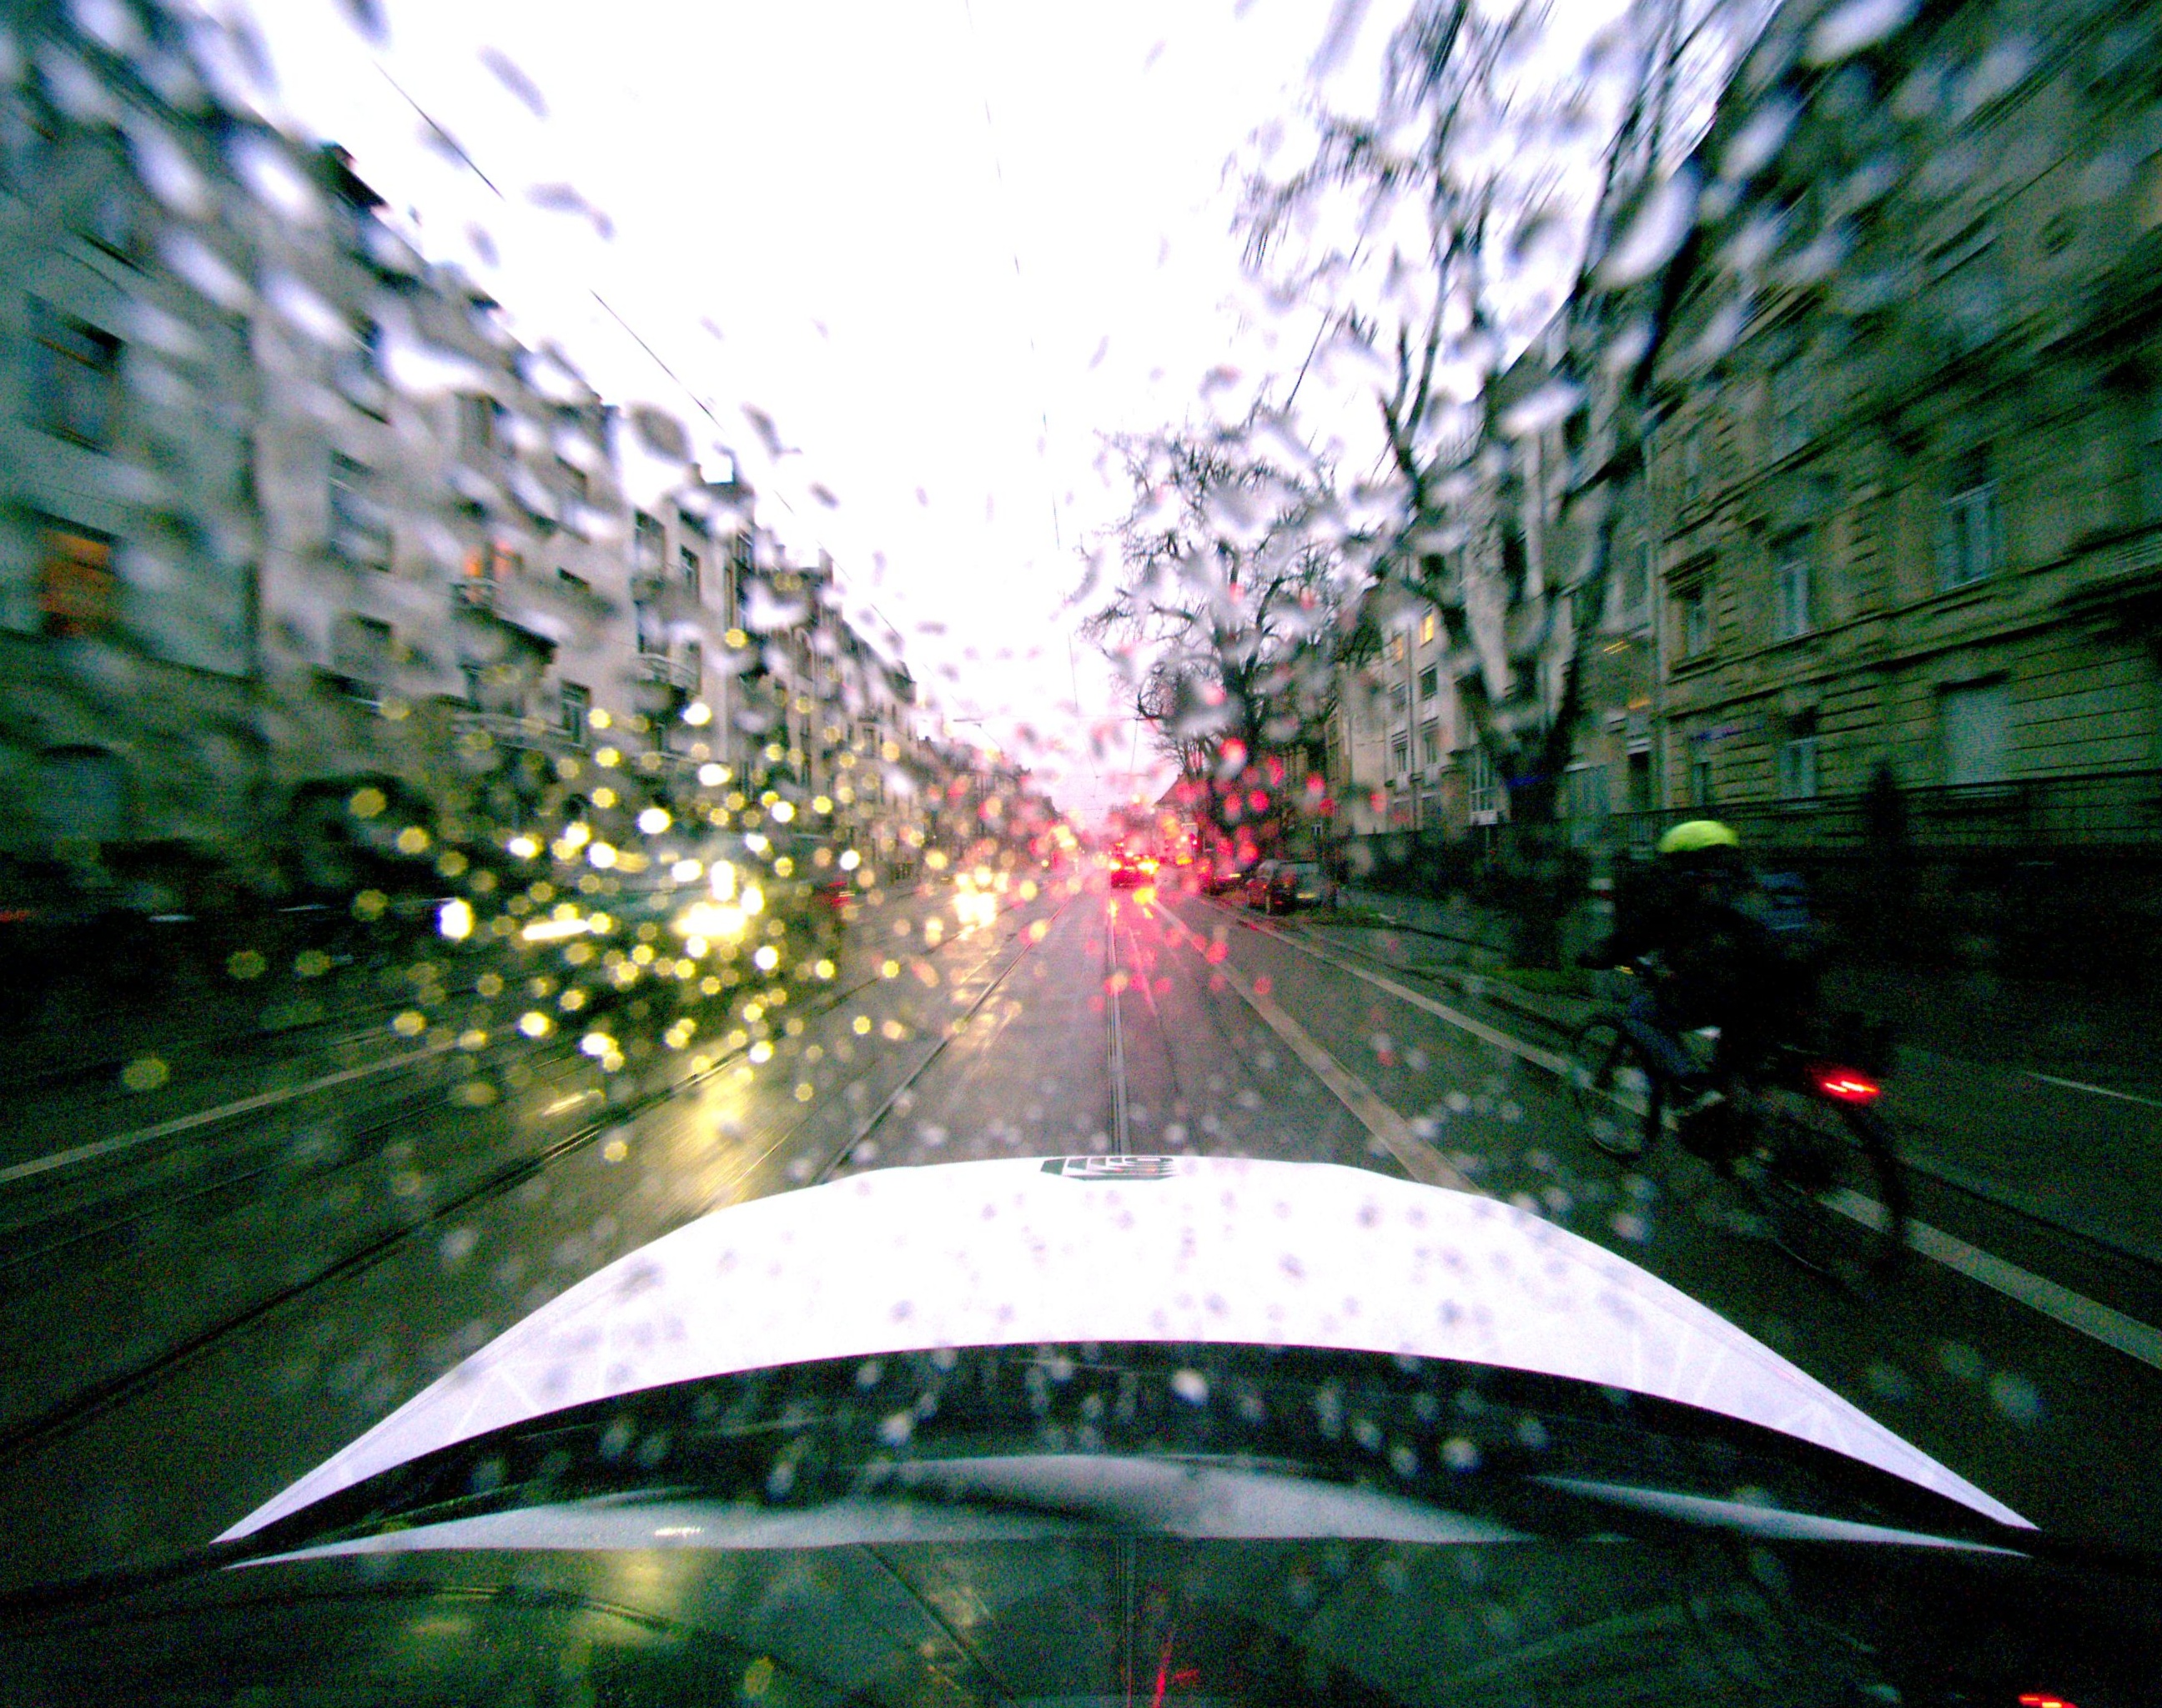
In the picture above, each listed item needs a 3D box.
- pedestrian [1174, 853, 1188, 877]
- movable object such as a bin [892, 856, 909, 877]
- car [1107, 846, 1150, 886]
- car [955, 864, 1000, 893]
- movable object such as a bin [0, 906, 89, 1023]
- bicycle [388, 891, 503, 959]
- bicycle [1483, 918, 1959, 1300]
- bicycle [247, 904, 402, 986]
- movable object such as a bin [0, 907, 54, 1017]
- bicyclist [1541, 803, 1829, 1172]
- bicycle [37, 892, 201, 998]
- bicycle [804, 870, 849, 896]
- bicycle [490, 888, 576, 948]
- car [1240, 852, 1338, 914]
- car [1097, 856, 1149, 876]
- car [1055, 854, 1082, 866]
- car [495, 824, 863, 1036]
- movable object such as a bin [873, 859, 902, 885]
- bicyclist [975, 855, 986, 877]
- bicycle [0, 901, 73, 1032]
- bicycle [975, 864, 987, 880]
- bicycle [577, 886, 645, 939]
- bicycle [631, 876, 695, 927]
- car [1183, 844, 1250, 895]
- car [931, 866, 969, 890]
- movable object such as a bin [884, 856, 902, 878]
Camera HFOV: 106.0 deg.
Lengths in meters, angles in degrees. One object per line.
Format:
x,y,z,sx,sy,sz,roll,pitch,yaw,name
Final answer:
8.825,0.949,71.626,1.019,2.013,0.919,-2,0,-2,pedestrian
-14.408,0.994,65.177,1.009,1.600,1.082,-2,0,4,movable object such as a bin
2.356,0.621,41.607,1.986,1.897,4.759,-1,-1,1,car
-5.004,1.161,39.813,1.655,1.198,3.874,-2,1,0,car
-11.288,1.156,8.593,0.694,1.137,0.739,-2,0,-13,movable object such as a bin
-10.420,1.153,13.437,0.690,1.031,1.594,-3,-4,-3,bicycle
2.660,0.948,3.768,0.704,1.096,2.032,-2,1,5,bicycle
-10.567,1.235,11.458,0.690,1.031,1.593,-3,-4,-1,bicycle
-11.914,1.178,8.783,0.694,1.137,0.739,-2,0,-13,movable object such as a bin
2.631,0.530,3.654,0.653,1.446,0.850,-2,0,4,bicyclist
-12.398,1.164,10.516,1.582,1.264,0.490,-3,-5,5,bicycle
-11.337,1.285,36.289,1.802,1.080,0.615,-2,0,-6,bicycle
-10.391,1.182,15.511,0.691,1.031,1.592,-2,-1,-7,bicycle
5.579,0.715,22.305,1.671,1.460,4.043,-2,0,1,car
4.039,1.126,78.521,4.923,1.717,1.699,-2,0,4,car
-1.935,0.880,128.300,3.983,1.717,1.899,-2,0,-7,car
-4.472,0.689,10.244,2.040,1.922,5.099,-2,1,0,car
-12.277,1.145,51.642,1.404,1.530,1.365,-2,0,1,movable object such as a bin
-7.537,0.902,61.187,0.714,1.602,0.930,-2,0,-2,bicyclist
-10.654,1.107,7.547,0.691,1.212,1.592,-2,1,-7,bicycle
-7.518,1.356,61.206,0.714,1.110,2.063,-2,1,-2,bicycle
-10.215,1.245,17.754,0.691,1.031,1.592,-2,-1,-7,bicycle
-10.115,1.117,19.766,0.484,1.099,1.931,-3,0,0,bicycle
5.544,0.567,33.906,1.986,1.900,5.028,-2,1,1,car
-9.161,1.633,57.224,1.826,1.447,4.002,-2,1,2,car
-14.389,0.998,62.513,1.009,1.600,1.082,-2,0,4,movable object such as a bin
